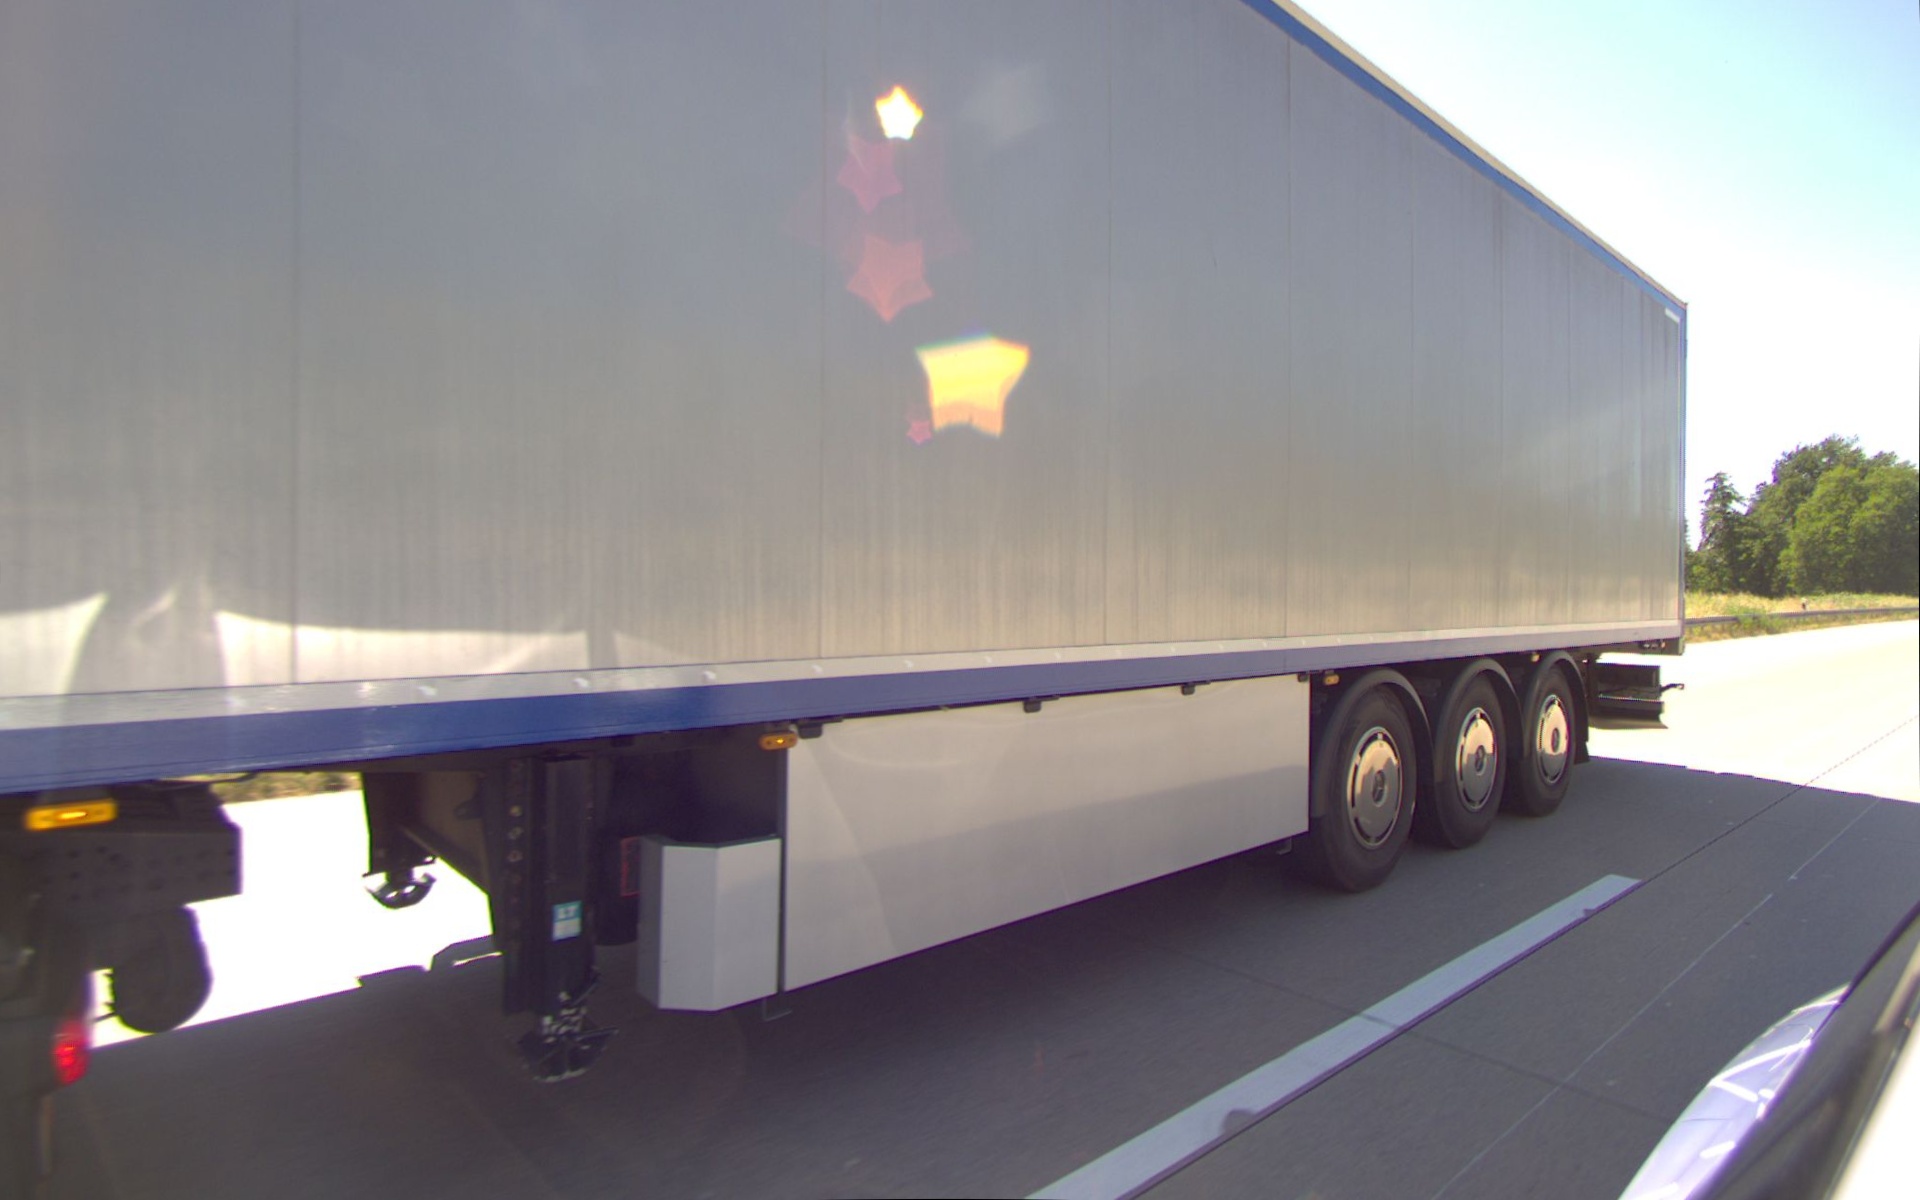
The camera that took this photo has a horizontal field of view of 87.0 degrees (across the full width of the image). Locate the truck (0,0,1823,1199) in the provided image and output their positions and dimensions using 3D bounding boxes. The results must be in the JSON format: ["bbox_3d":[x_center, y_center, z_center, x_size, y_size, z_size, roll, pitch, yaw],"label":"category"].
[{"bbox_3d":[-0.017,-1.520,4.890,17.928,5.863,3.582,0,-2,-41],"label":"truck"}]
